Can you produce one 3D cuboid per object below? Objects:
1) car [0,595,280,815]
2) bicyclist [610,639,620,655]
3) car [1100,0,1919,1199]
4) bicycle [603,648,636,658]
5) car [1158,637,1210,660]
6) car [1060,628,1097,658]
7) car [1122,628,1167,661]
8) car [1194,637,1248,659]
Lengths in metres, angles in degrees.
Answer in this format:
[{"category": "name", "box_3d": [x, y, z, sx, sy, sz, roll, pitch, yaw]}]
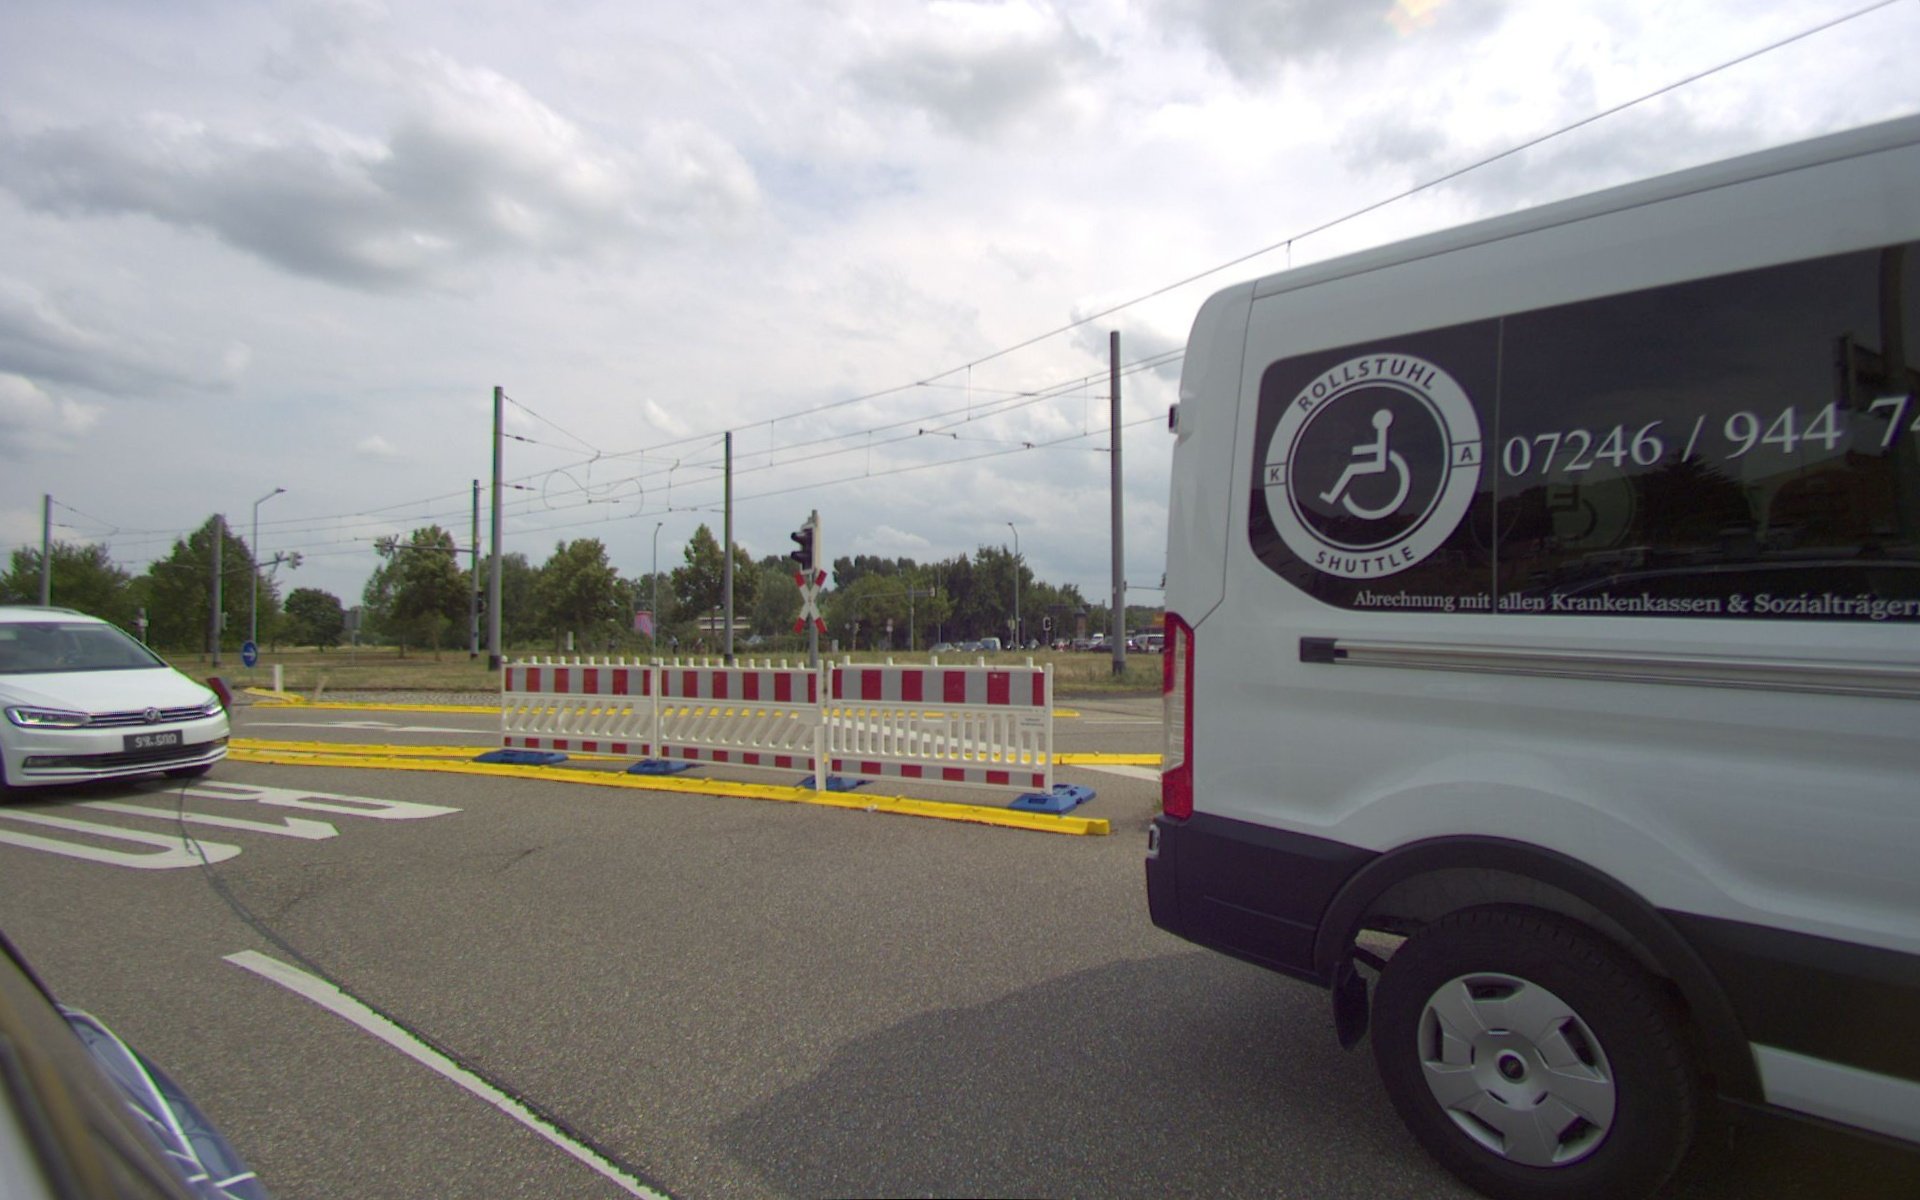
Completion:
[{"category": "car", "box_3d": [-8.762, 0.840, 9.375, 4.322, 1.678, 1.926, -1, -1, 20]}, {"category": "bicyclist", "box_3d": [-30.435, 4.147, 89.312, 0.664, 1.420, 0.865, 0, -3, -3]}, {"category": "car", "box_3d": [3.189, -0.034, 1.833, 5.631, 2.718, 2.103, -2, -3, 43]}, {"category": "bicycle", "box_3d": [-30.005, 4.645, 89.304, 2.619, 0.861, 0.865, 0, -3, -3]}, {"category": "car", "box_3d": [14.680, 3.207, 66.641, 1.803, 1.475, 4.010, 1, -3, -13]}, {"category": "car", "box_3d": [8.510, 3.116, 72.984, 1.970, 2.029, 4.002, 1, -2, -3]}, {"category": "car", "box_3d": [13.322, 3.235, 73.254, 1.971, 2.028, 4.364, 7, -3, -3]}, {"category": "car", "box_3d": [18.067, 3.306, 70.299, 1.802, 1.475, 4.011, 2, -3, -16]}]
